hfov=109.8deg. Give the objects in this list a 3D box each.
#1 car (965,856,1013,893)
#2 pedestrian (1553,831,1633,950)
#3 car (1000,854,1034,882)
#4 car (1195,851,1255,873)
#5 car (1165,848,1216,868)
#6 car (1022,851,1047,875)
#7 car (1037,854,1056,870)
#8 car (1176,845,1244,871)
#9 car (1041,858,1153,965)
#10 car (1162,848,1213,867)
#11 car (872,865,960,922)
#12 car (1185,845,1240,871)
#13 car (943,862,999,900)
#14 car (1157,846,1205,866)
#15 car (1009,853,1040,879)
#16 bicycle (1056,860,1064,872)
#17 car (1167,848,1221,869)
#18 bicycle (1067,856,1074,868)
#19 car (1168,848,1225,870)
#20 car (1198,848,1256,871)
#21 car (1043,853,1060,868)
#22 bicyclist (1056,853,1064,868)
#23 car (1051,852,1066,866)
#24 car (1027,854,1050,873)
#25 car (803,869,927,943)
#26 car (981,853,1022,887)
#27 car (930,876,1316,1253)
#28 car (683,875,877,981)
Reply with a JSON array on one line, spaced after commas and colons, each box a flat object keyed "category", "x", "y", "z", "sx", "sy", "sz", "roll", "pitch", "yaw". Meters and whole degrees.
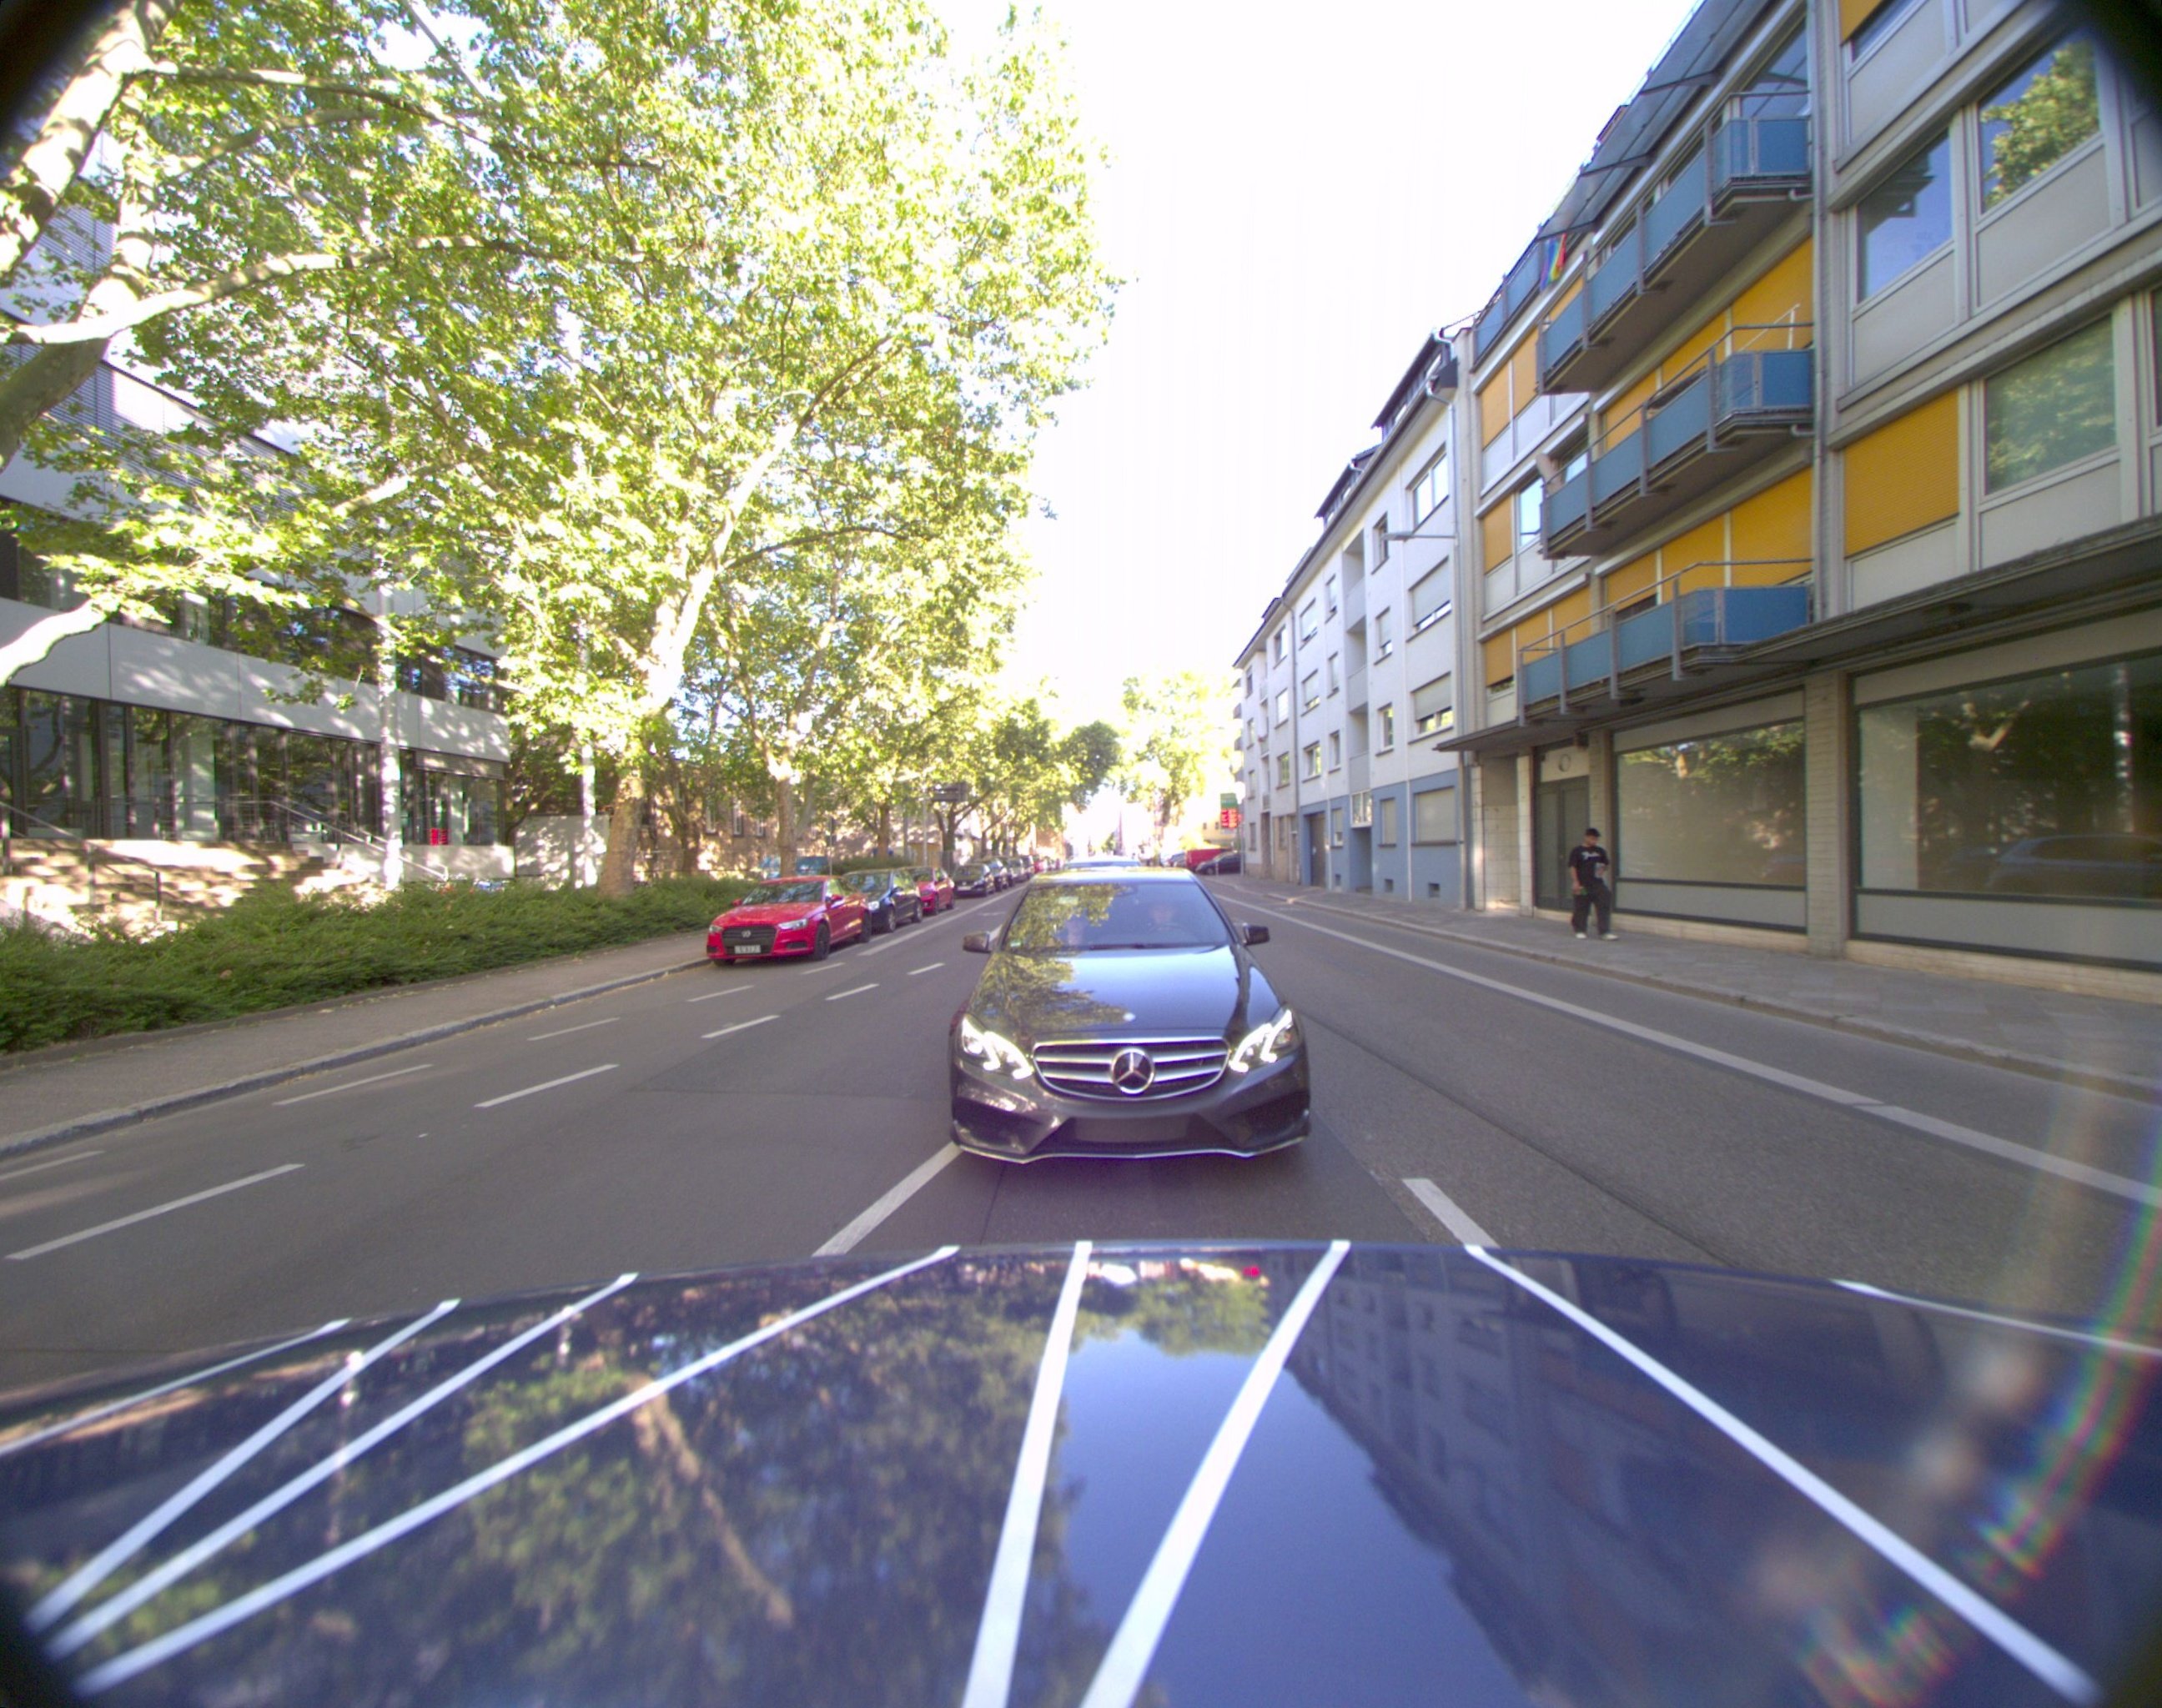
[{"category": "car", "x": -4.560, "y": 0.981, "z": 38.251, "sx": 1.755, "sy": 1.644, "sz": 4.174, "roll": -3, "pitch": 0, "yaw": 1}, {"category": "pedestrian", "x": 7.891, "y": 0.547, "z": 11.745, "sx": 0.663, "sy": 1.761, "sz": 0.793, "roll": -2, "pitch": 1, "yaw": 1}, {"category": "car", "x": -4.269, "y": 0.885, "z": 50.933, "sx": 1.755, "sy": 1.718, "sz": 4.447, "roll": -3, "pitch": 0, "yaw": 1}, {"category": "car", "x": 10.360, "y": 0.571, "z": 54.768, "sx": 3.997, "sy": 1.412, "sz": 1.743, "roll": -2, "pitch": 0, "yaw": 1}, {"category": "car", "x": 11.291, "y": 0.382, "z": 78.707, "sx": 4.991, "sy": 1.926, "sz": 2.083, "roll": -2, "pitch": 0, "yaw": 1}, {"category": "car", "x": -3.993, "y": 0.734, "z": 66.377, "sx": 1.755, "sy": 1.941, "sz": 4.447, "roll": -3, "pitch": 0, "yaw": 1}, {"category": "car", "x": -3.772, "y": 0.875, "z": 83.503, "sx": 1.755, "sy": 1.652, "sz": 4.447, "roll": -3, "pitch": 0, "yaw": 1}, {"category": "car", "x": 10.640, "y": 0.303, "z": 63.093, "sx": 5.223, "sy": 1.969, "sz": 2.257, "roll": -2, "pitch": 0, "yaw": 1}, {"category": "car", "x": 0.272, "y": 0.892, "z": 13.597, "sx": 1.667, "sy": 1.563, "sz": 4.000, "roll": -1, "pitch": 0, "yaw": 1}, {"category": "car", "x": 11.327, "y": 0.357, "z": 81.172, "sx": 5.042, "sy": 1.926, "sz": 2.315, "roll": -2, "pitch": 0, "yaw": 1}, {"category": "car", "x": -5.033, "y": 1.150, "z": 23.643, "sx": 1.755, "sy": 1.459, "sz": 3.909, "roll": -3, "pitch": 0, "yaw": 1}, {"category": "car", "x": 10.335, "y": 0.309, "z": 60.068, "sx": 3.997, "sy": 1.926, "sz": 1.867, "roll": -2, "pitch": 0, "yaw": 1}, {"category": "car", "x": -4.748, "y": 1.122, "z": 33.281, "sx": 1.755, "sy": 1.424, "sz": 3.909, "roll": -3, "pitch": 0, "yaw": 1}, {"category": "car", "x": 11.194, "y": 0.211, "z": 85.508, "sx": 5.143, "sy": 2.135, "sz": 2.187, "roll": -2, "pitch": 0, "yaw": 1}, {"category": "car", "x": -4.099, "y": 0.827, "z": 55.744, "sx": 1.755, "sy": 1.753, "sz": 4.447, "roll": -3, "pitch": 0, "yaw": 1}, {"category": "bicycle", "x": -1.952, "y": 1.110, "z": 71.004, "sx": 0.650, "sy": 1.053, "sz": 1.595, "roll": -1, "pitch": 0, "yaw": 1}, {"category": "car", "x": 11.276, "y": 0.414, "z": 76.209, "sx": 5.054, "sy": 1.926, "sz": 2.161, "roll": -2, "pitch": 0, "yaw": 1}, {"category": "bicycle", "x": -1.006, "y": 0.750, "z": 70.845, "sx": 0.574, "sy": 1.053, "sz": 1.595, "roll": -1, "pitch": 0, "yaw": 1}, {"category": "car", "x": 11.104, "y": 0.452, "z": 73.509, "sx": 5.143, "sy": 1.926, "sz": 2.187, "roll": -2, "pitch": 0, "yaw": 1}, {"category": "car", "x": 10.916, "y": 0.400, "z": 56.978, "sx": 3.997, "sy": 1.552, "sz": 1.743, "roll": -2, "pitch": 0, "yaw": 1}, {"category": "car", "x": -3.642, "y": 0.778, "z": 92.992, "sx": 1.755, "sy": 1.652, "sz": 4.447, "roll": -3, "pitch": 0, "yaw": 1}, {"category": "bicyclist", "x": -1.971, "y": 0.622, "z": 70.988, "sx": 0.650, "sy": 1.427, "sz": 0.741, "roll": -1, "pitch": 1, "yaw": 1}, {"category": "car", "x": -3.010, "y": 0.655, "z": 103.191, "sx": 1.755, "sy": 1.652, "sz": 4.447, "roll": -3, "pitch": 0, "yaw": 1}, {"category": "car", "x": -3.999, "y": 0.908, "z": 72.163, "sx": 1.755, "sy": 1.652, "sz": 4.447, "roll": -3, "pitch": 0, "yaw": 1}, {"category": "car", "x": -5.083, "y": 1.177, "z": 18.431, "sx": 1.755, "sy": 1.424, "sz": 3.909, "roll": -3, "pitch": 0, "yaw": 1}, {"category": "car", "x": -4.551, "y": 0.875, "z": 44.050, "sx": 1.755, "sy": 1.810, "sz": 4.447, "roll": -3, "pitch": 0, "yaw": 1}, {"category": "car", "x": 0.213, "y": 0.989, "z": 5.345, "sx": 1.667, "sy": 1.499, "sz": 4.000, "roll": -1, "pitch": 0, "yaw": 1}, {"category": "car", "x": -5.123, "y": 1.186, "z": 13.585, "sx": 1.755, "sy": 1.400, "sz": 4.000, "roll": -3, "pitch": 0, "yaw": 1}]
